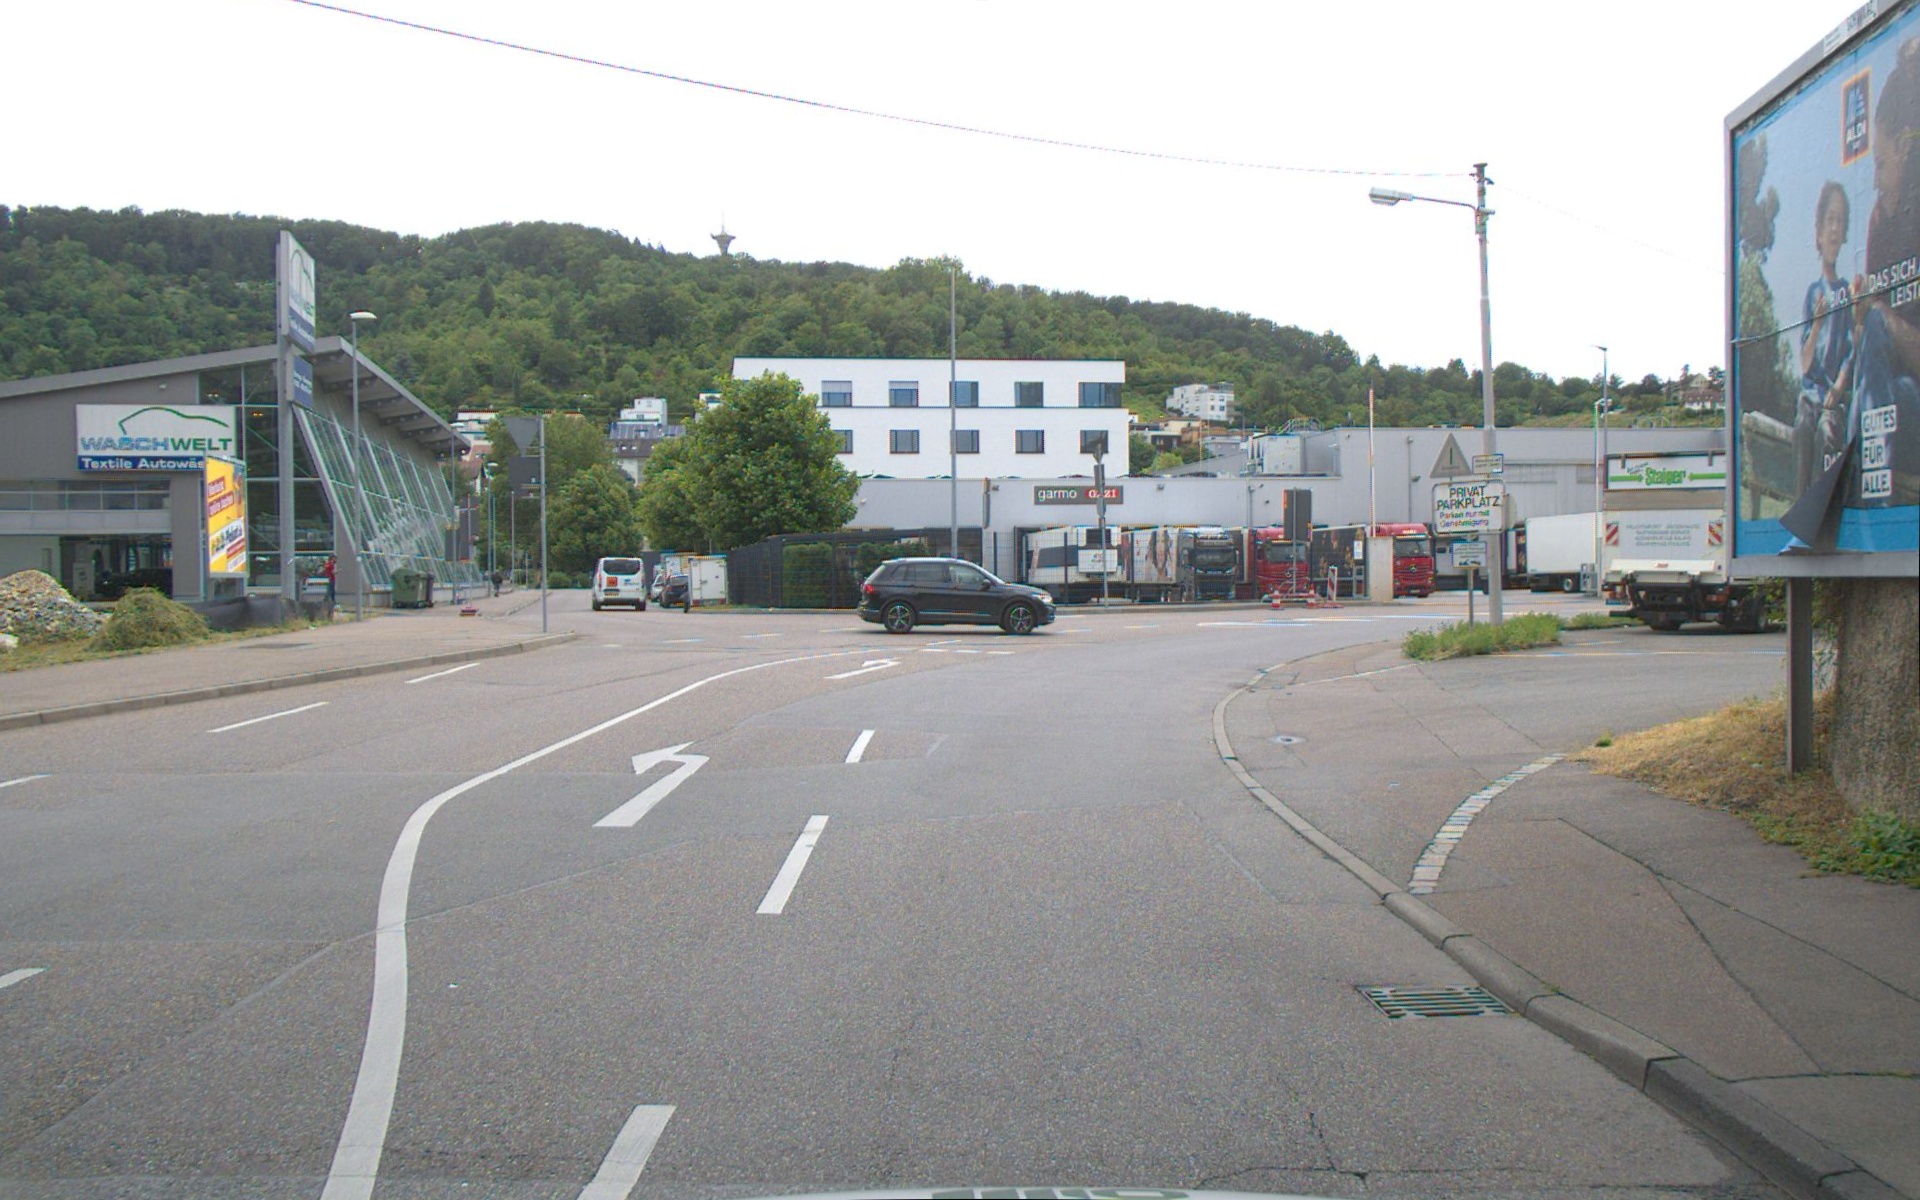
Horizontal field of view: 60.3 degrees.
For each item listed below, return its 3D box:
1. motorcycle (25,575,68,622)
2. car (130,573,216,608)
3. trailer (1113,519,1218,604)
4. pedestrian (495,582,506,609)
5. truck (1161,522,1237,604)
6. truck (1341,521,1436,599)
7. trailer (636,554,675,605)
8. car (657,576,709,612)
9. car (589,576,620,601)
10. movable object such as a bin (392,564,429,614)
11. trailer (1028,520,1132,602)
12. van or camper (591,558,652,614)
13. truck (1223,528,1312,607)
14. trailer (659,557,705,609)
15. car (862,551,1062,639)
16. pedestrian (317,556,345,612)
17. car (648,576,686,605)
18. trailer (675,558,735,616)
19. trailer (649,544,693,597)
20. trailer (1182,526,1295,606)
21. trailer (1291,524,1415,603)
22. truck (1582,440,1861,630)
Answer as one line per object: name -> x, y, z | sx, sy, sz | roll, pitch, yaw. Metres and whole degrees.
motorcycle -> -34.630, -0.075, 62.726 | 0.826, 1.740, 2.355 | 0, 0, -14
car -> -41.140, -0.500, 86.545 | 3.932, 1.758, 1.986 | 0, 0, -23
trailer -> 11.191, -1.997, 91.406 | 2.732, 4.376, 11.156 | 0, 0, -9
pedestrian -> -29.368, -0.305, 105.669 | 0.617, 1.702, 0.755 | -1, -1, -16
truck -> 12.234, -1.863, 85.040 | 2.742, 4.111, 4.156 | 0, 0, -9
truck -> 22.692, -2.065, 87.791 | 2.742, 3.997, 5.912 | 0, 0, -9
trailer -> -18.289, -1.237, 99.139 | 2.239, 3.004, 3.988 | 0, 1, -12
car -> -12.113, -0.283, 72.263 | 1.959, 1.534, 4.167 | 0, 1, -14
car -> -25.345, -0.840, 118.140 | 1.957, 1.713, 3.991 | -1, 0, -9
movable object such as a bin -> -20.124, -0.406, 60.606 | 1.122, 1.788, 1.056 | -1, -1, -10
trailer -> 6.361, -1.971, 89.880 | 3.025, 4.149, 11.384 | 0, 0, -9
van or camper -> -13.345, -0.529, 65.098 | 2.064, 2.119, 4.187 | -1, 0, -16
truck -> 16.011, -1.657, 86.599 | 2.742, 3.997, 5.912 | 0, 0, -9
trailer -> -13.086, -0.788, 77.739 | 1.958, 2.384, 3.988 | 0, 1, -12
car -> 0.010, -0.100, 36.805 | 4.270, 1.713, 1.999 | 2, -1, -3
pedestrian -> -21.794, -0.556, 57.296 | 0.815, 1.900, 0.713 | -1, 0, -24
car -> -15.661, -0.532, 88.537 | 1.957, 1.534, 3.990 | 0, 1, -10
trailer -> -9.330, -0.481, 60.263 | 1.958, 2.049, 3.988 | 0, 1, -12
trailer -> -21.230, -2.158, 121.378 | 3.014, 3.825, 4.919 | 0, 1, -12
trailer -> 15.212, -1.751, 91.300 | 2.732, 4.149, 10.971 | 0, 0, -9
trailer -> 21.935, -1.933, 93.061 | 2.732, 4.149, 10.971 | 0, 0, -9
truck -> 16.891, -1.287, 36.303 | 3.020, 3.695, 8.547 | 0, 0, 43
